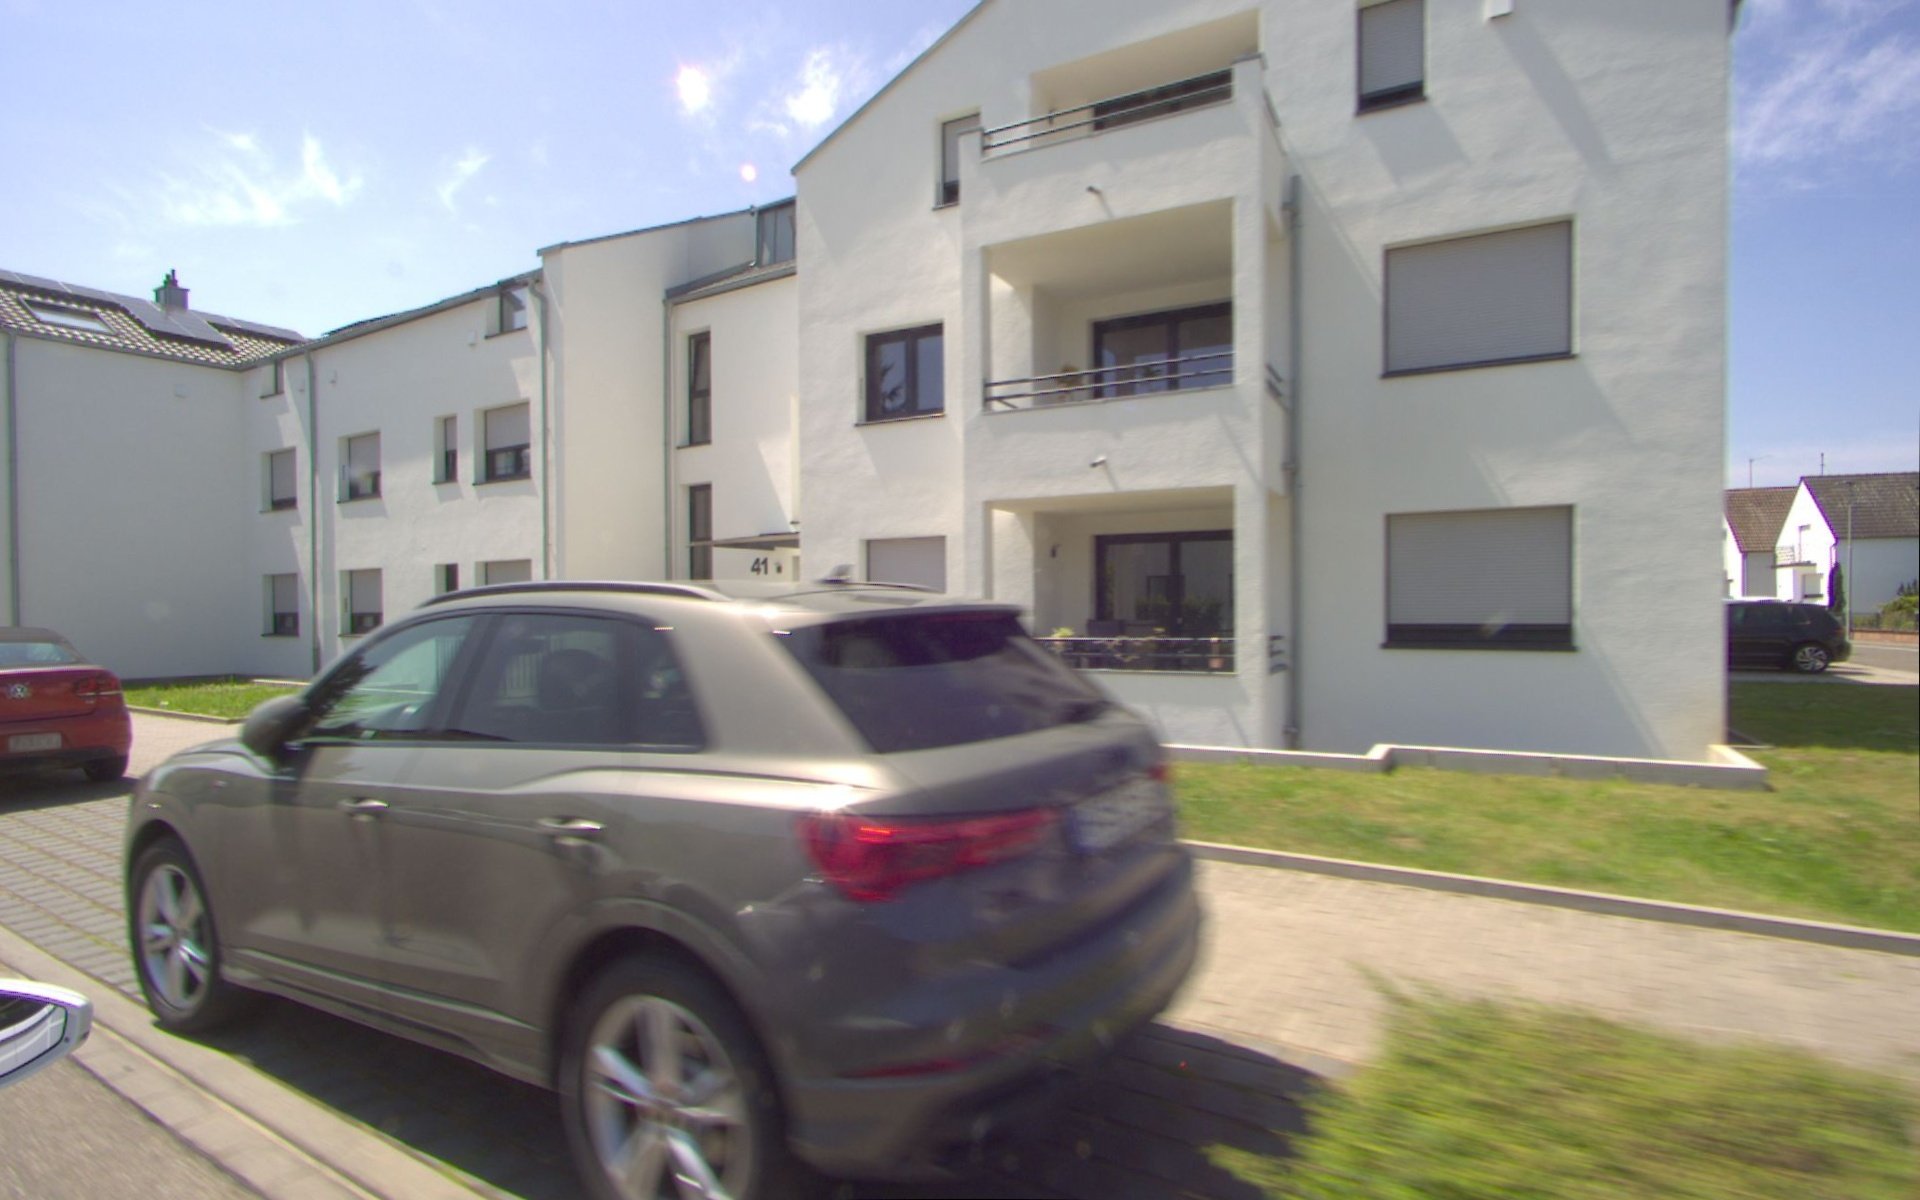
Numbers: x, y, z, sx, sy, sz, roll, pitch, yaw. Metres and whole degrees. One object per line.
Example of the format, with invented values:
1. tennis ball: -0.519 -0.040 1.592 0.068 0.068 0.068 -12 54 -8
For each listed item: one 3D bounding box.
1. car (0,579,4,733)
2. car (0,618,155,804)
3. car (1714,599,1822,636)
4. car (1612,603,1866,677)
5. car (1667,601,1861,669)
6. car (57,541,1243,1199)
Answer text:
1. car: -14.432 0.718 12.977 4.778 1.906 2.093 -1 -1 35
2. car: -9.201 0.905 9.149 3.969 1.460 1.676 -1 0 32
3. car: 42.973 0.933 53.398 1.961 1.901 4.456 0 -1 -5
4. car: 16.154 0.803 21.031 3.945 1.431 1.749 0 0 28
5. car: 18.101 0.770 22.706 3.165 1.460 1.457 0 0 26
6. car: -1.332 0.735 3.607 4.217 1.616 1.770 -1 0 32
